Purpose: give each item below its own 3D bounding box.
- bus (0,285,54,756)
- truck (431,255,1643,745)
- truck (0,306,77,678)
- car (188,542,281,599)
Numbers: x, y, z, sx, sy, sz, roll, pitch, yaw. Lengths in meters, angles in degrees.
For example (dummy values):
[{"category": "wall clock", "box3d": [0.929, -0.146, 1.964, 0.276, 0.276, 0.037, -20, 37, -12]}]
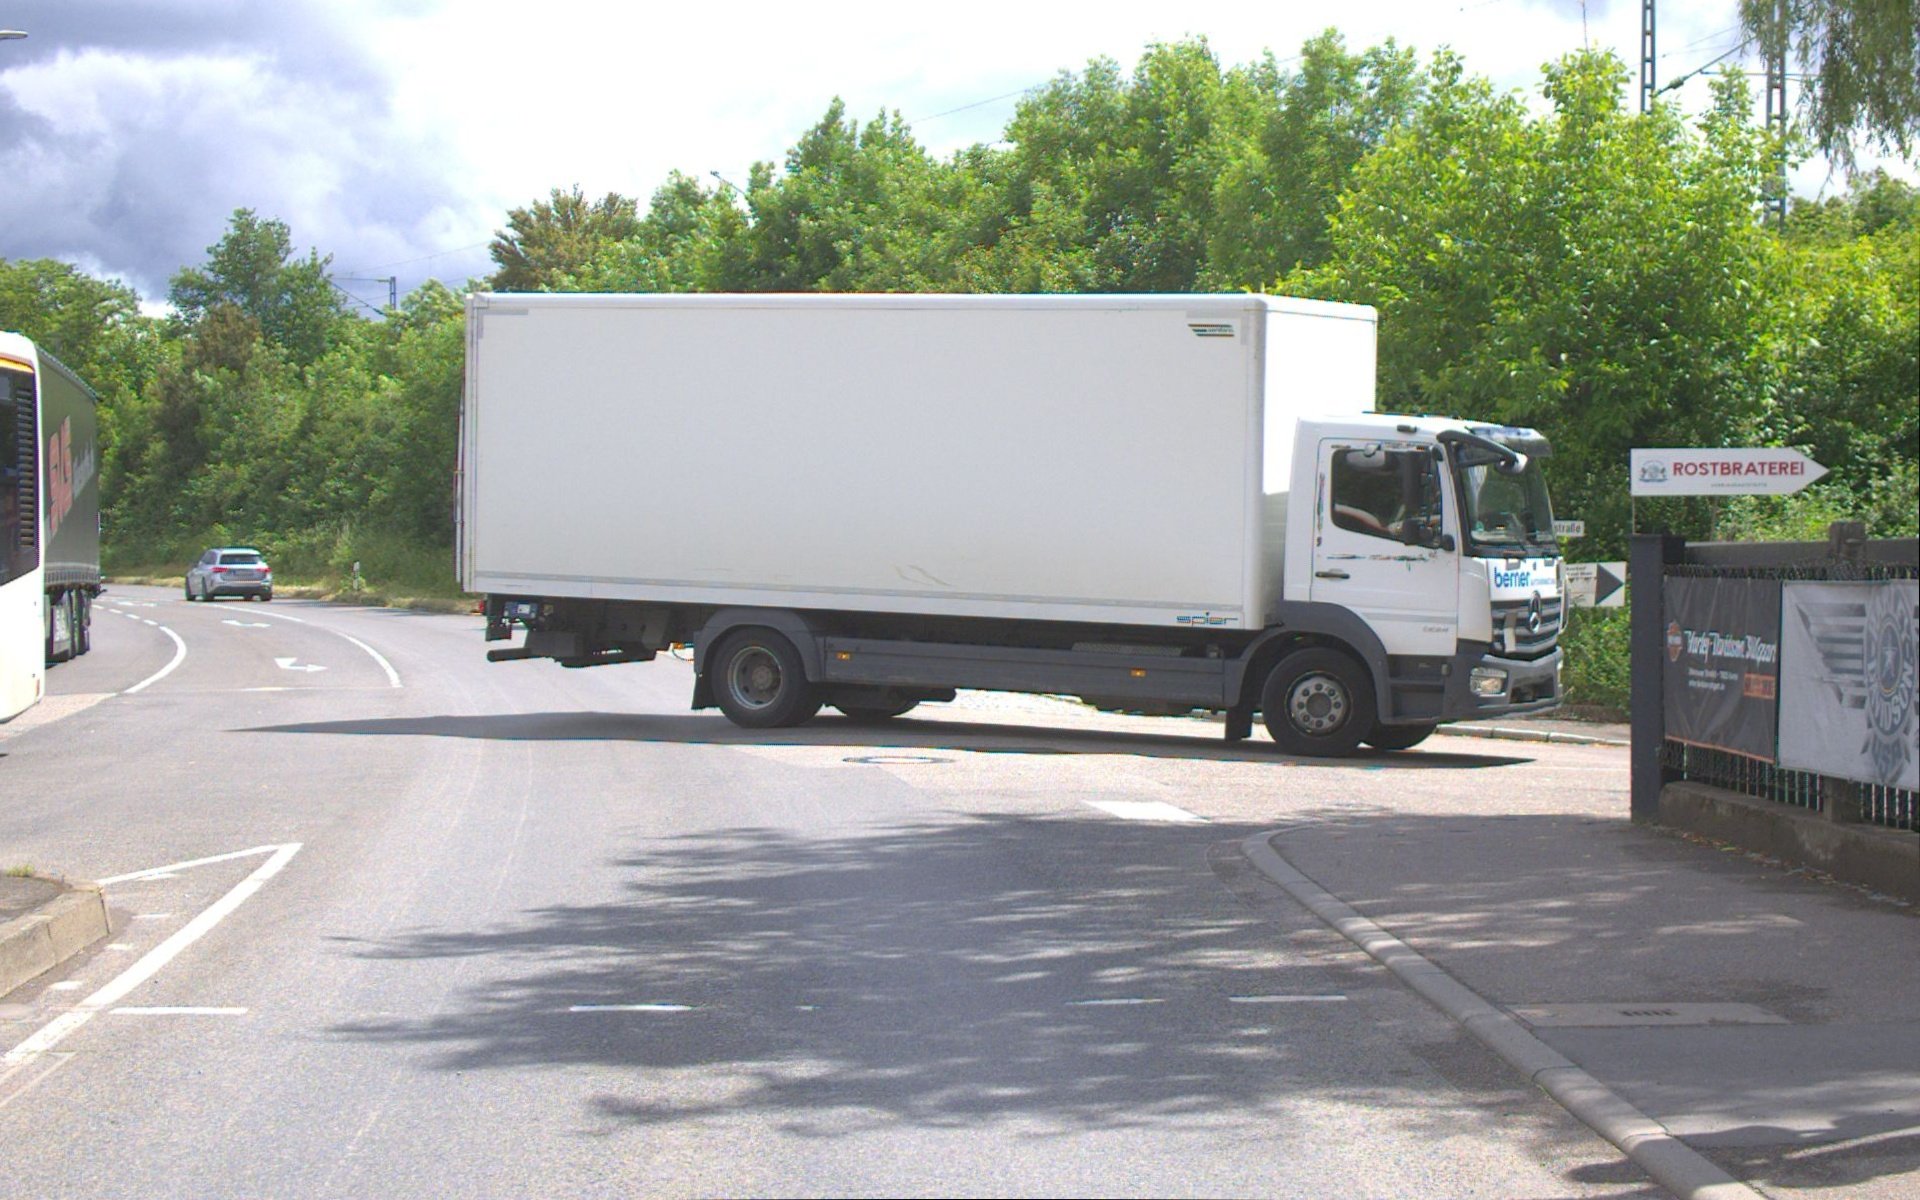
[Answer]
[{"category": "bus", "box3d": [-7.950, -0.481, 19.072, 2.777, 3.255, 12.124, -1, 1, -1]}, {"category": "truck", "box3d": [0.456, -0.792, 28.262, 9.707, 3.528, 2.845, 1, 1, 28]}, {"category": "truck", "box3d": [-12.176, -1.243, 40.181, 2.428, 4.117, 9.152, 2, 0, -8]}, {"category": "car", "box3d": [-19.923, -0.817, 94.281, 1.884, 1.503, 4.001, 0, 1, -21]}]
